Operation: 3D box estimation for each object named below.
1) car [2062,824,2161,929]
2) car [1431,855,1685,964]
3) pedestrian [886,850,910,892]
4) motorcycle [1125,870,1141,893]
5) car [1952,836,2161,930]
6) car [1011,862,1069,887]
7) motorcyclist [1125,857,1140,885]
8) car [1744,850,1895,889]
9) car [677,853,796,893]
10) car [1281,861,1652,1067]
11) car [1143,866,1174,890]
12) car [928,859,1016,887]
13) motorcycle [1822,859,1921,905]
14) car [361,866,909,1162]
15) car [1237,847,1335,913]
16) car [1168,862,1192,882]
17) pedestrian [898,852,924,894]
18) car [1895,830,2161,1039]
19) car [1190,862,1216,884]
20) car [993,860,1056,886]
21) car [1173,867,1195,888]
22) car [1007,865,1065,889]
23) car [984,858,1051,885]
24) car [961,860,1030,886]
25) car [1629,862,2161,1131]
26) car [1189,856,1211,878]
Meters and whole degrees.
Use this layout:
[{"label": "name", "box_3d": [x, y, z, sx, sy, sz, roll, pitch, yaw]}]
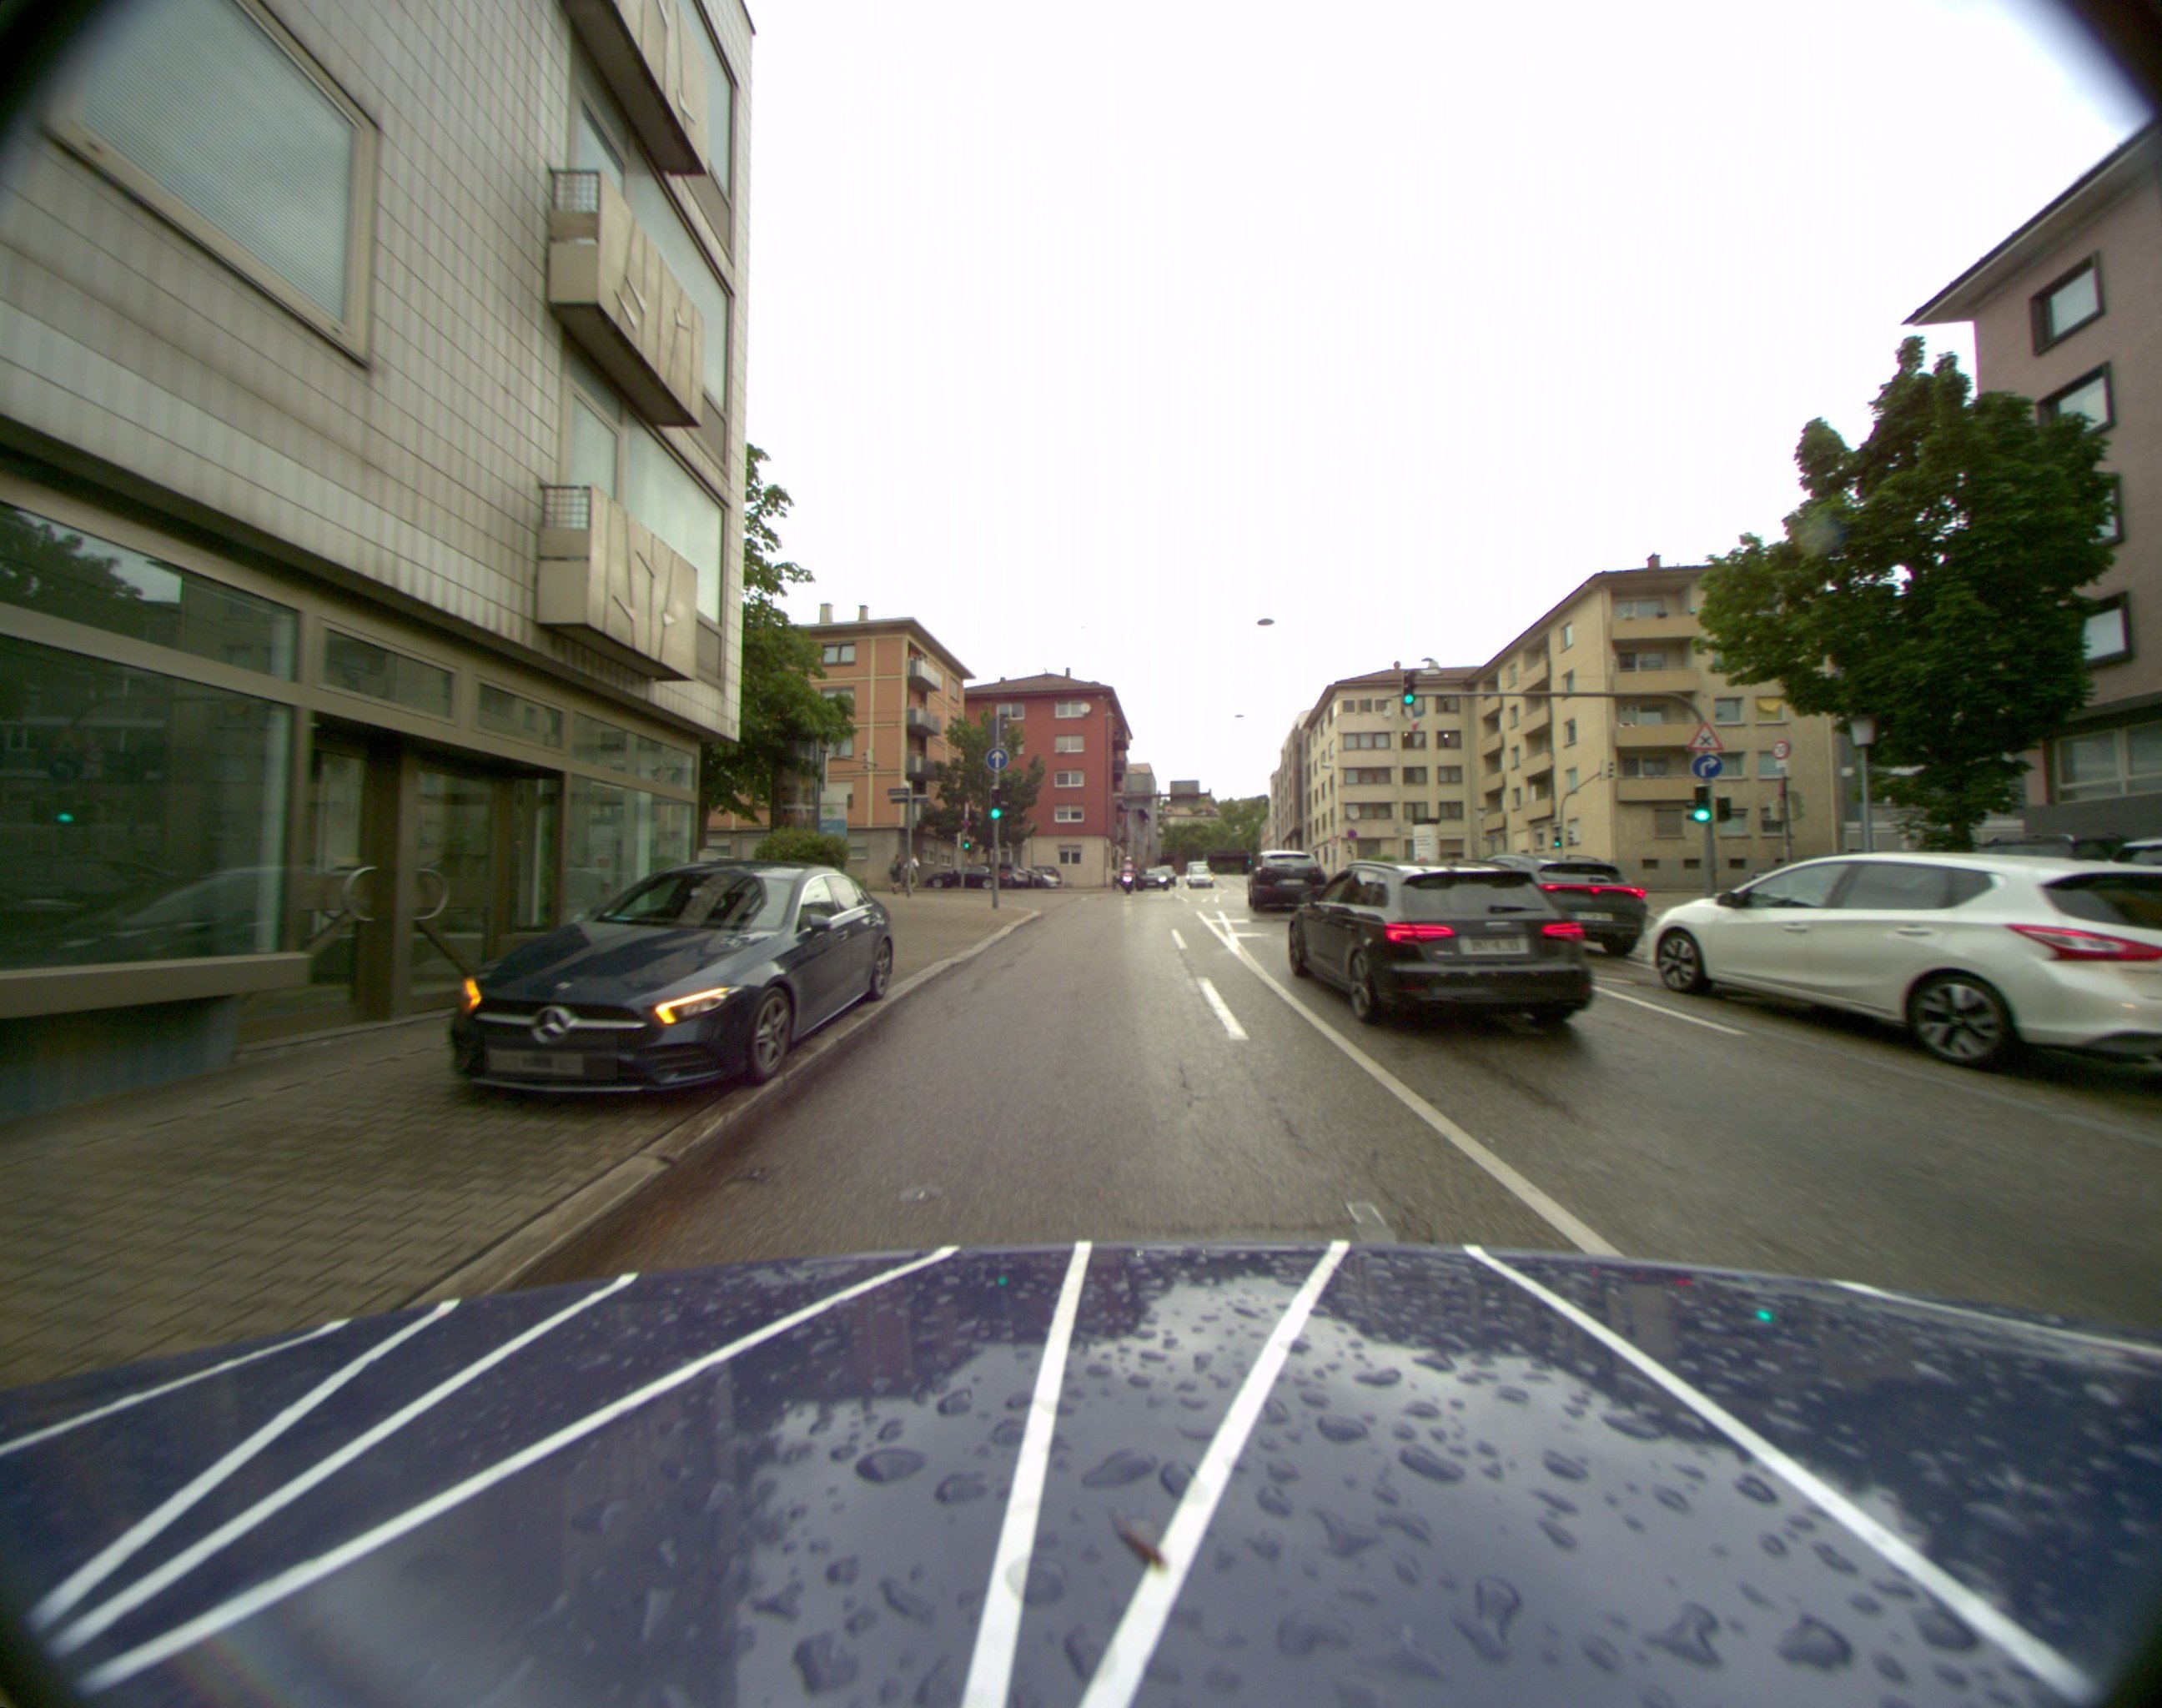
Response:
[{"label": "car", "box_3d": [20.153, 0.379, 13.300, 4.000, 1.784, 1.859, 0, 2, -8]}, {"label": "car", "box_3d": [7.508, 0.805, 12.568, 1.823, 1.469, 4.382, 0, -1, 6]}, {"label": "pedestrian", "box_3d": [-7.433, 0.682, 30.880, 0.759, 1.636, 0.710, 3, -4, -8]}, {"label": "motorcycle", "box_3d": [2.345, 1.238, 34.552, 0.637, 0.921, 2.365, -2, 0, 2]}, {"label": "car", "box_3d": [20.505, 0.516, 15.532, 4.349, 1.718, 1.771, -1, 2, -15]}, {"label": "car", "box_3d": [-3.172, 1.595, 58.805, 3.991, 1.694, 2.004, -3, -4, 21]}, {"label": "motorcyclist", "box_3d": [2.351, 0.769, 34.469, 0.654, 1.216, 0.658, 0, 0, 2]}, {"label": "car", "box_3d": [29.430, 0.646, 30.394, 4.067, 1.471, 1.735, 0, -3, 7]}, {"label": "car", "box_3d": [-13.754, 0.765, 30.433, 3.994, 1.503, 1.852, -1, -1, 10]}, {"label": "car", "box_3d": [3.367, 0.816, 7.723, 1.810, 1.406, 4.380, 0, 1, 4]}, {"label": "car", "box_3d": [4.921, 1.513, 48.503, 1.874, 1.433, 4.002, -1, -1, 5]}, {"label": "car", "box_3d": [-6.496, 1.115, 45.449, 4.787, 1.545, 1.852, 1, -1, 11]}, {"label": "motorcycle", "box_3d": [18.219, 0.647, 17.527, 1.793, 1.026, 0.453, -1, -1, -1]}, {"label": "car", "box_3d": [-2.880, 0.886, 6.226, 1.768, 1.384, 4.379, 2, 1, 2]}, {"label": "car", "box_3d": [5.283, 0.592, 20.135, 1.823, 1.528, 4.380, 0, 1, 6]}, {"label": "car", "box_3d": [8.130, 1.498, 62.225, 1.838, 1.545, 4.004, -1, -1, 10]}, {"label": "pedestrian", "box_3d": [-6.875, 0.789, 30.699, 0.760, 1.636, 0.709, 5, -4, -26]}, {"label": "car", "box_3d": [10.308, 0.762, 6.793, 1.731, 1.819, 4.061, 5, 1, 4]}, {"label": "car", "box_3d": [9.080, 1.407, 56.322, 1.838, 1.545, 4.004, -1, -1, 10]}, {"label": "car", "box_3d": [-3.974, 1.349, 53.332, 3.992, 1.687, 1.804, -1, -3, 18]}, {"label": "car", "box_3d": [9.048, 2.090, 66.799, 1.792, 1.716, 4.005, -2, -4, 8]}, {"label": "car", "box_3d": [-3.321, 1.706, 55.937, 3.990, 1.571, 1.678, -3, -4, 27]}, {"label": "car", "box_3d": [-4.246, 1.165, 50.878, 3.991, 1.709, 1.996, -1, -1, 21]}, {"label": "car", "box_3d": [-5.405, 1.216, 48.248, 3.994, 1.650, 1.995, 0, -2, 7]}, {"label": "car", "box_3d": [6.969, 0.859, 6.449, 1.810, 1.533, 4.382, 0, -1, 6]}, {"label": "car", "box_3d": [11.835, 1.344, 75.658, 1.940, 1.903, 4.862, -2, -3, 11]}]
